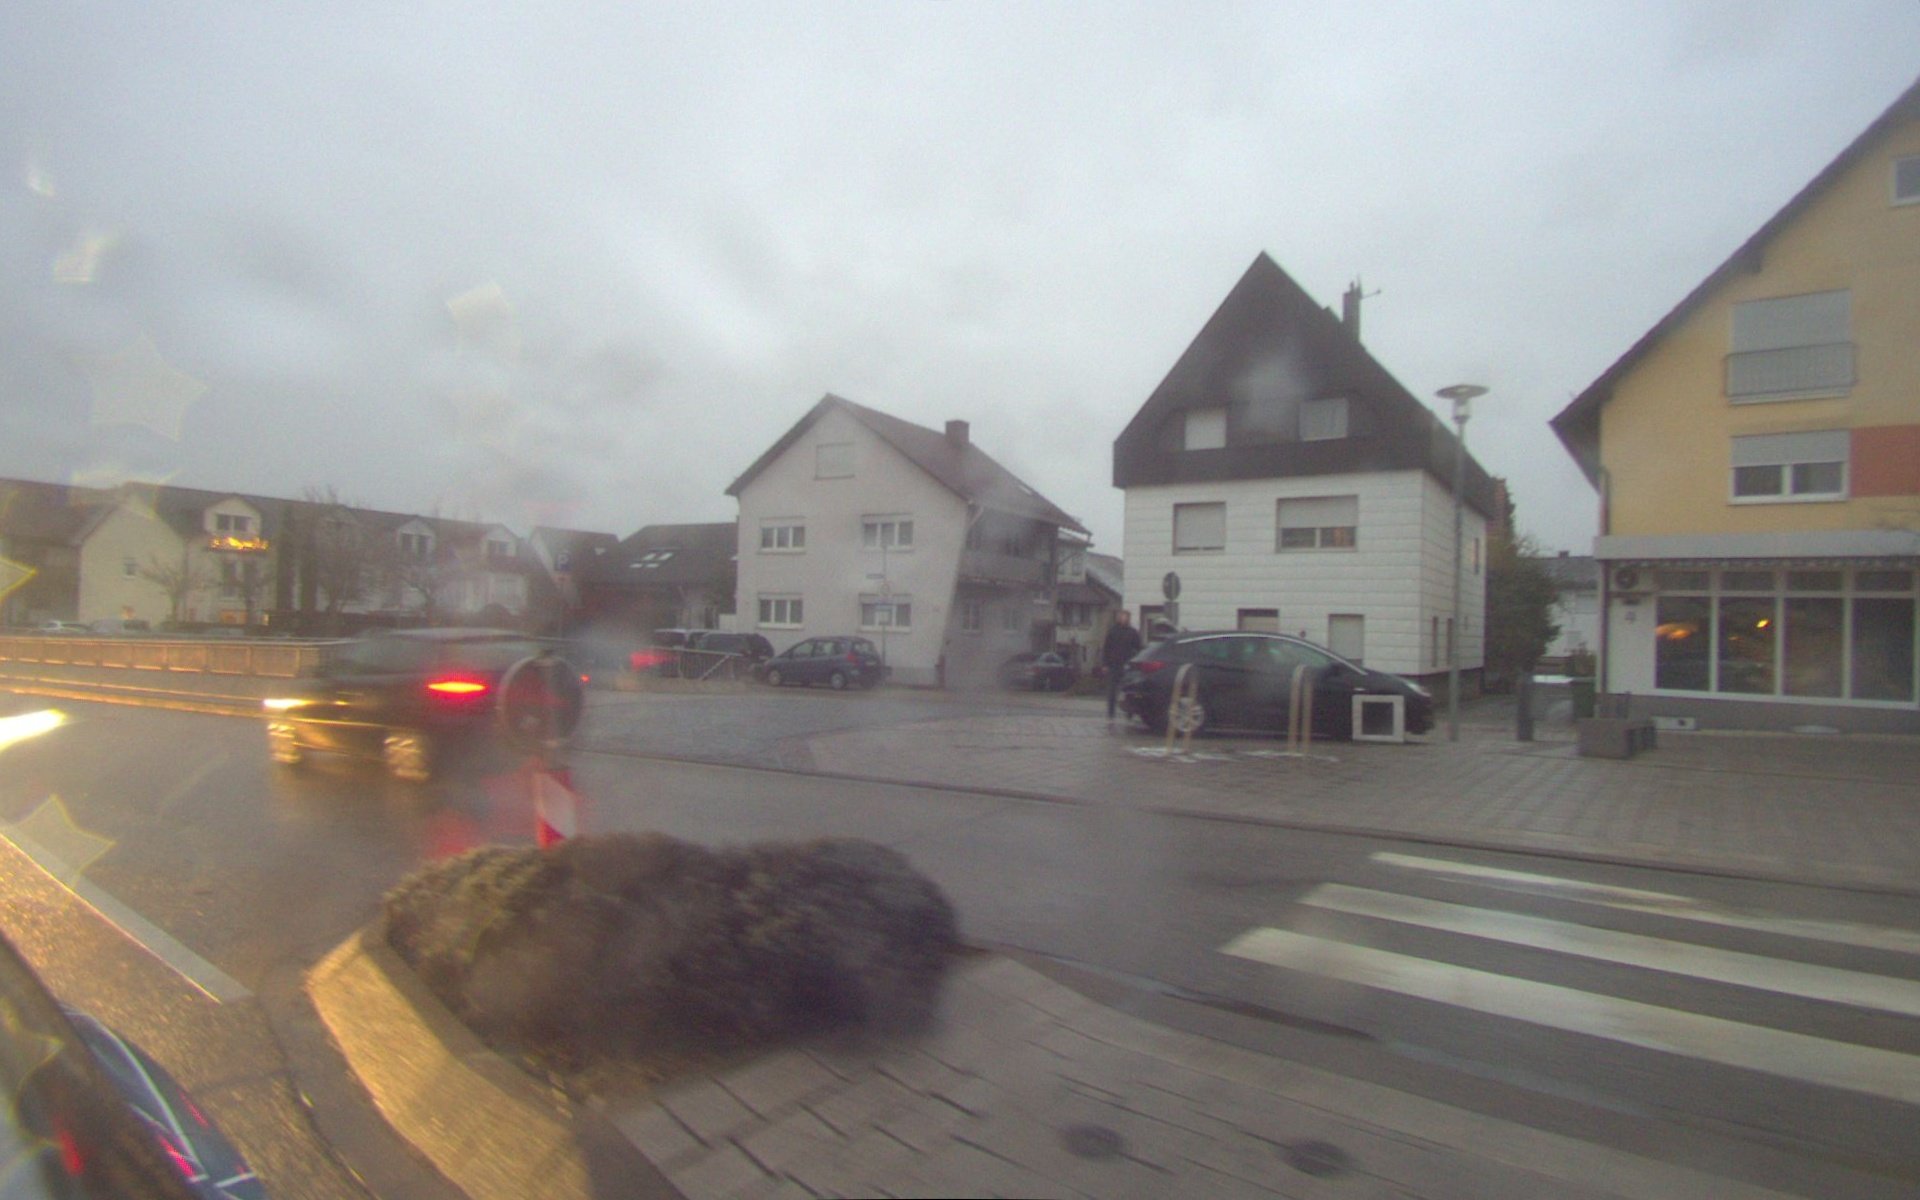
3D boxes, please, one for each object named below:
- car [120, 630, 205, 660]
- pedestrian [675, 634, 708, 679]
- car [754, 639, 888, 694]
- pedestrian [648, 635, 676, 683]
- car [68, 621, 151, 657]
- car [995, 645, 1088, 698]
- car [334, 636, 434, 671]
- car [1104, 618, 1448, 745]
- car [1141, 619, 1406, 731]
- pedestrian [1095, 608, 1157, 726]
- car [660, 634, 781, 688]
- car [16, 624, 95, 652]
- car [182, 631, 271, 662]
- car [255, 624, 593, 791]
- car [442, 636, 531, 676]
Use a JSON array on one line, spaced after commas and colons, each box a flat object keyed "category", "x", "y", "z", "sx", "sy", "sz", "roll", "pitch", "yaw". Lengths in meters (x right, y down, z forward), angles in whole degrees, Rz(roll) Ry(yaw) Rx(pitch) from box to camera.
[{"category": "car", "x": -42.096, "y": 2.349, "z": 53.416, "sx": 4.233, "sy": 1.480, "sz": 1.785, "roll": 0, "pitch": -3, "yaw": 25}, {"category": "pedestrian", "x": -7.673, "y": 1.612, "z": 28.953, "sx": 0.601, "sy": 1.259, "sz": 0.685, "roll": -1, "pitch": -3, "yaw": 34}, {"category": "car", "x": -4.448, "y": 2.078, "z": 32.251, "sx": 4.080, "sy": 1.581, "sz": 1.761, "roll": 0, "pitch": -2, "yaw": 32}, {"category": "pedestrian", "x": -8.273, "y": 1.630, "z": 28.121, "sx": 0.594, "sy": 1.312, "sz": 0.511, "roll": 0, "pitch": -2, "yaw": 1}, {"category": "car", "x": -46.557, "y": 2.138, "z": 55.406, "sx": 4.233, "sy": 1.841, "sz": 1.785, "roll": 0, "pitch": -3, "yaw": 25}, {"category": "car", "x": 2.987, "y": 2.609, "z": 36.480, "sx": 1.712, "sy": 1.695, "sz": 3.958, "roll": 2, "pitch": -4, "yaw": 31}, {"category": "car", "x": -25.933, "y": 2.393, "z": 45.528, "sx": 4.233, "sy": 1.480, "sz": 1.785, "roll": 0, "pitch": -3, "yaw": 25}, {"category": "car", "x": 4.222, "y": 1.078, "z": 14.031, "sx": 4.122, "sy": 1.543, "sz": 1.914, "roll": 1, "pitch": -2, "yaw": 0}, {"category": "car", "x": 5.080, "y": 1.238, "z": 16.837, "sx": 3.846, "sy": 1.683, "sz": 1.838, "roll": 1, "pitch": -4, "yaw": 4}, {"category": "pedestrian", "x": 2.521, "y": 1.005, "z": 15.319, "sx": 0.834, "sy": 1.725, "sz": 0.720, "roll": 0, "pitch": -4, "yaw": 18}, {"category": "car", "x": -8.204, "y": 2.042, "z": 34.610, "sx": 3.943, "sy": 1.673, "sz": 1.687, "roll": 0, "pitch": -2, "yaw": 29}, {"category": "car", "x": -51.724, "y": 2.188, "z": 57.895, "sx": 3.988, "sy": 1.480, "sz": 1.664, "roll": 0, "pitch": -5, "yaw": 21}, {"category": "car", "x": -37.131, "y": 2.344, "z": 51.215, "sx": 4.233, "sy": 1.480, "sz": 1.785, "roll": 0, "pitch": -3, "yaw": 25}, {"category": "car", "x": -5.510, "y": 0.986, "z": 10.345, "sx": 3.353, "sy": 1.422, "sz": 1.493, "roll": 0, "pitch": -2, "yaw": 30}, {"category": "car", "x": -19.421, "y": 2.278, "z": 41.488, "sx": 3.488, "sy": 1.520, "sz": 1.464, "roll": 0, "pitch": -3, "yaw": 29}]
